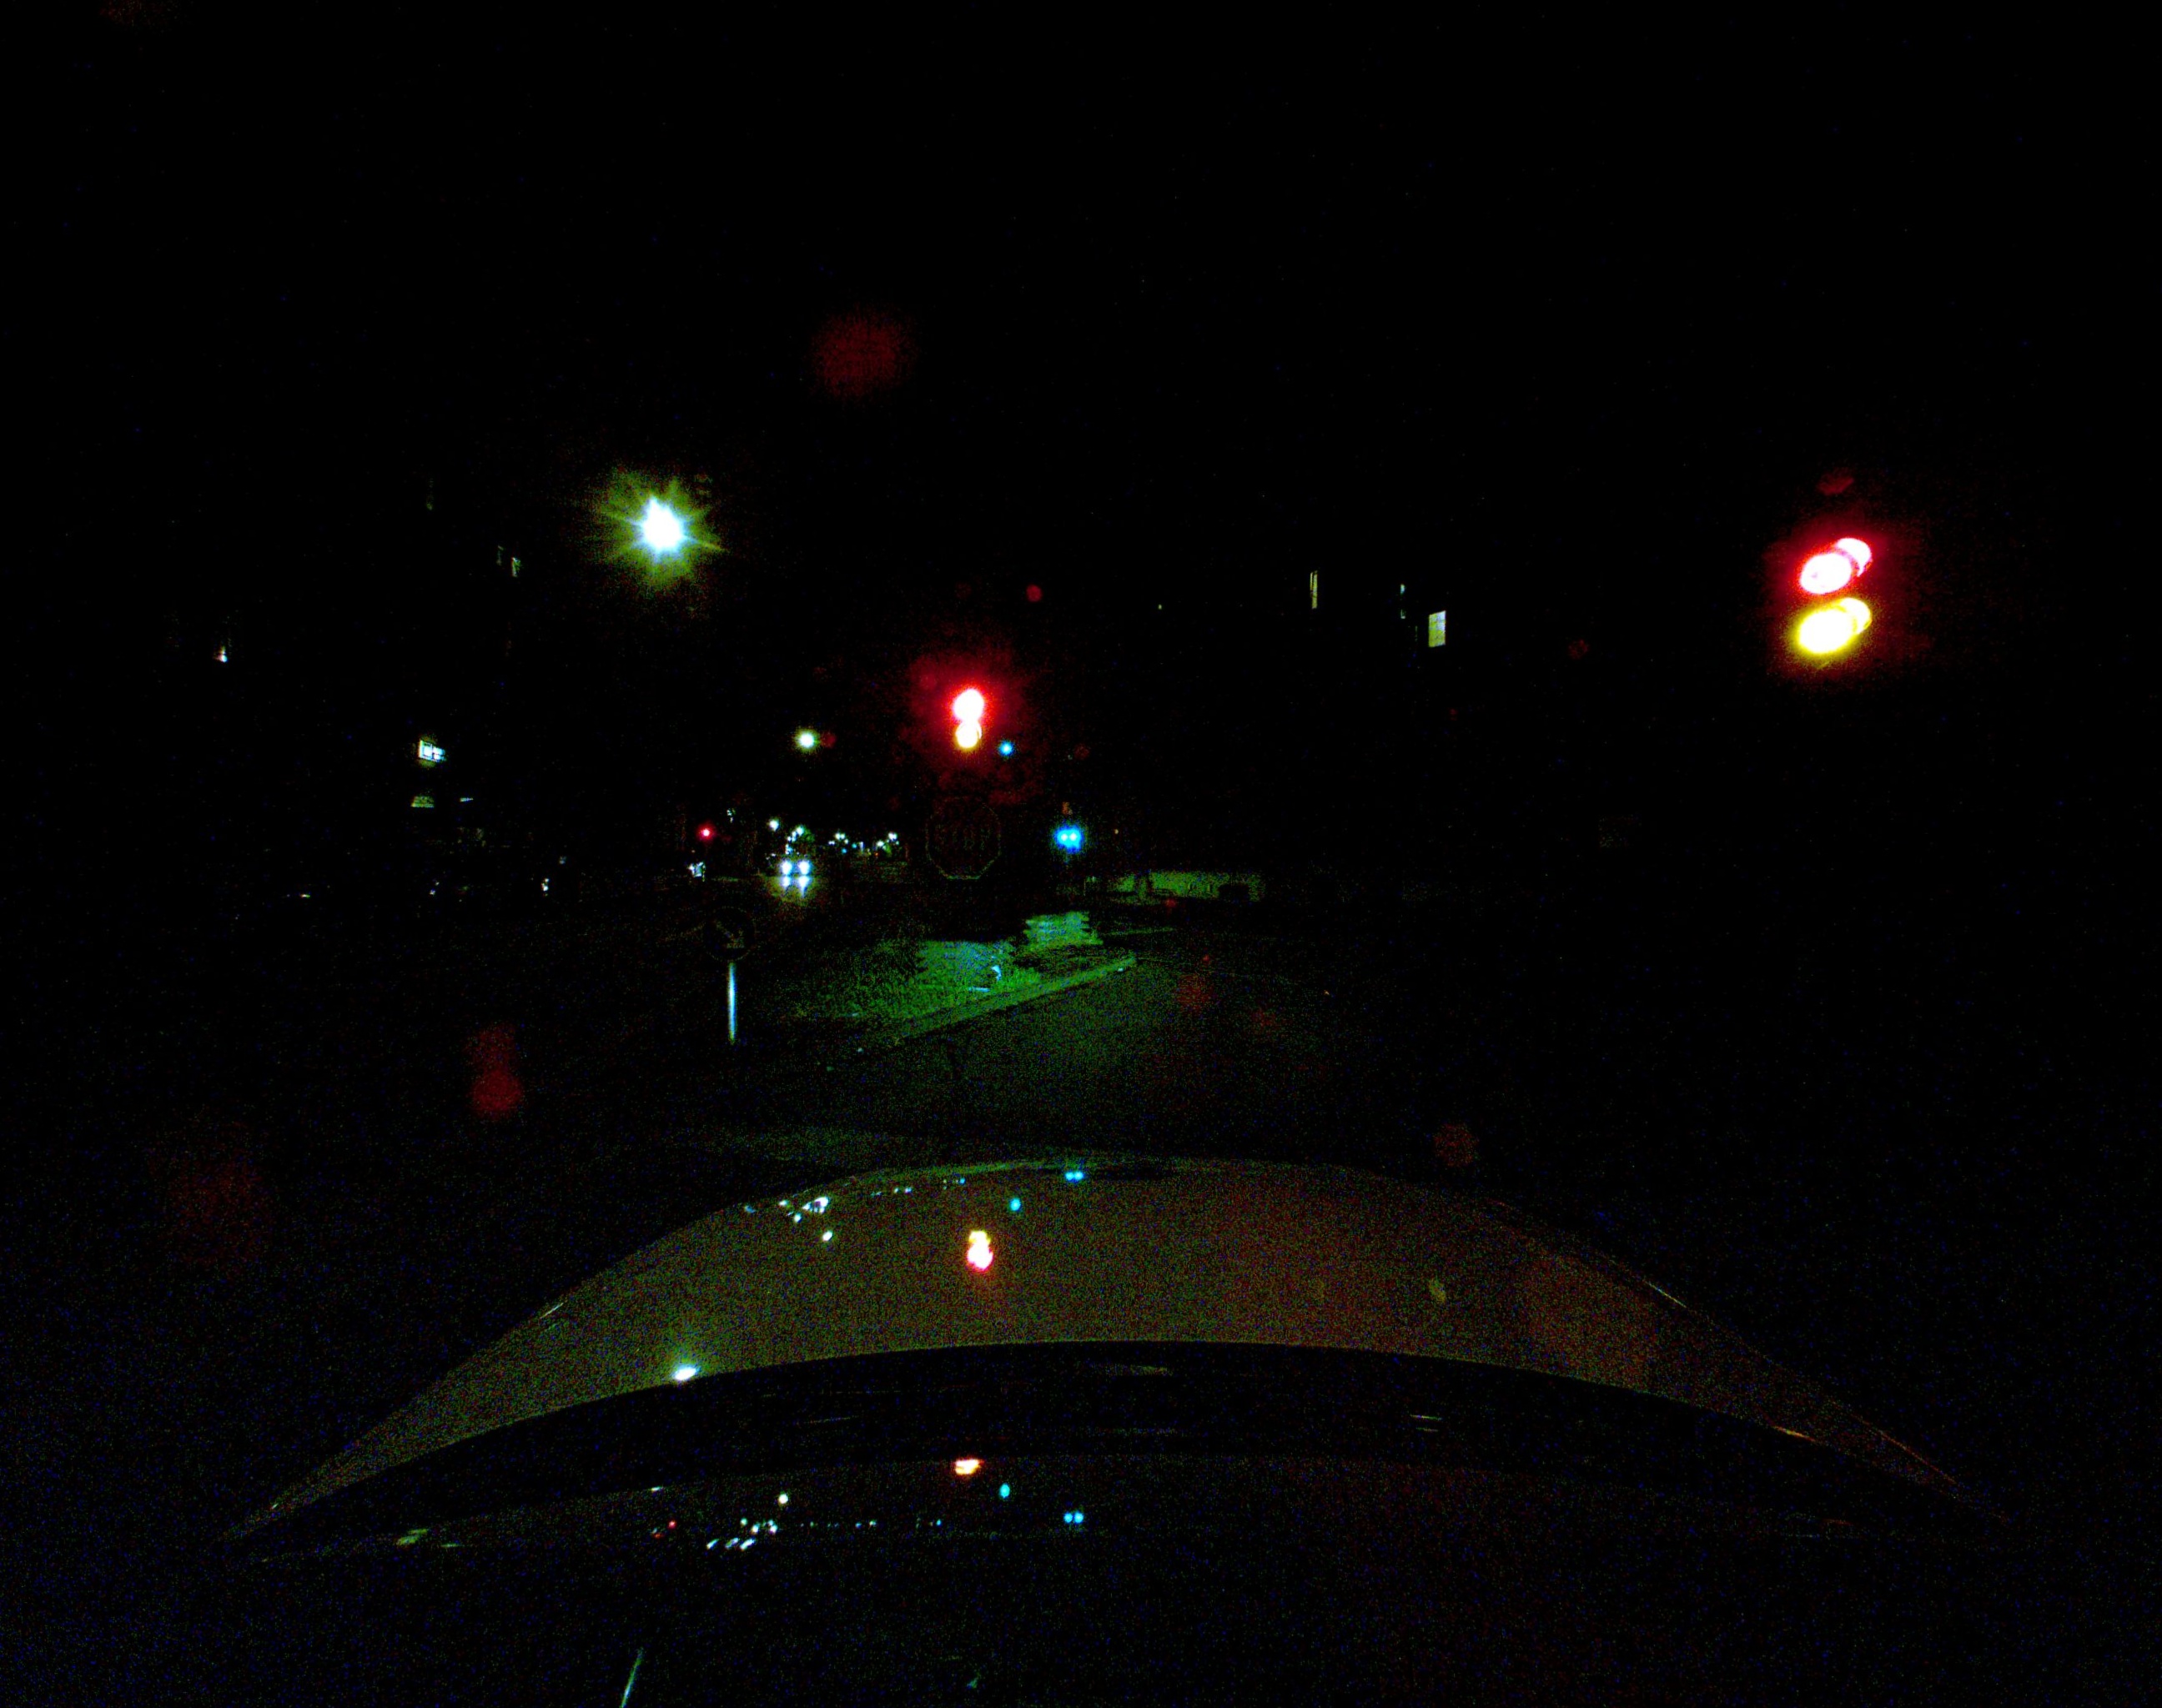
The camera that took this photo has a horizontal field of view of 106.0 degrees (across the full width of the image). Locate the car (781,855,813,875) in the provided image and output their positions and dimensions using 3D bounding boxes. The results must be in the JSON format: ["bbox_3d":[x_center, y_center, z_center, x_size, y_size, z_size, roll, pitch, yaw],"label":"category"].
[{"bbox_3d":[-20.721,0.757,59.577,1.717,1.429,3.983,0,0,-13],"label":"car"}]

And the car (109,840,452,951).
[{"bbox_3d":[-12.608,0.594,13.339,1.863,1.479,4.453,2,-1,-13],"label":"car"}]

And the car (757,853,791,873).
[{"bbox_3d":[-25.372,0.709,67.447,1.785,1.491,4.313,4,-1,-11],"label":"car"}]

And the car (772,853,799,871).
[{"bbox_3d":[-26.550,0.697,73.160,1.787,1.491,3.980,4,-1,-14],"label":"car"}]

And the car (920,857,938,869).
[{"bbox_3d":[-19.699,1.137,105.112,1.738,1.460,4.700,2,-1,-17],"label":"car"}]

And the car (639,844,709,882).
[{"bbox_3d":[-19.206,0.422,38.656,1.887,1.596,4.008,3,-1,-11],"label":"car"}]

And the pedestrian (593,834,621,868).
[{"bbox_3d":[-23.819,-0.132,40.953,0.708,1.690,1.123,1,-1,-3],"label":"pedestrian"}]

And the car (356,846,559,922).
[{"bbox_3d":[-13.733,0.625,18.331,1.863,1.433,4.423,3,-1,-13],"label":"car"}]

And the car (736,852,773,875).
[{"bbox_3d":[-23.617,0.698,59.070,1.592,1.491,3.688,4,-1,-8],"label":"car"}]

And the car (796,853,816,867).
[{"bbox_3d":[-31.599,0.679,93.522,1.787,1.416,4.106,3,-1,-15],"label":"car"}]

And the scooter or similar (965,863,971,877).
[{"bbox_3d":[-9.568,1.363,69.242,0.421,1.130,1.490,1,0,-5],"label":"scooter or similar"}]
